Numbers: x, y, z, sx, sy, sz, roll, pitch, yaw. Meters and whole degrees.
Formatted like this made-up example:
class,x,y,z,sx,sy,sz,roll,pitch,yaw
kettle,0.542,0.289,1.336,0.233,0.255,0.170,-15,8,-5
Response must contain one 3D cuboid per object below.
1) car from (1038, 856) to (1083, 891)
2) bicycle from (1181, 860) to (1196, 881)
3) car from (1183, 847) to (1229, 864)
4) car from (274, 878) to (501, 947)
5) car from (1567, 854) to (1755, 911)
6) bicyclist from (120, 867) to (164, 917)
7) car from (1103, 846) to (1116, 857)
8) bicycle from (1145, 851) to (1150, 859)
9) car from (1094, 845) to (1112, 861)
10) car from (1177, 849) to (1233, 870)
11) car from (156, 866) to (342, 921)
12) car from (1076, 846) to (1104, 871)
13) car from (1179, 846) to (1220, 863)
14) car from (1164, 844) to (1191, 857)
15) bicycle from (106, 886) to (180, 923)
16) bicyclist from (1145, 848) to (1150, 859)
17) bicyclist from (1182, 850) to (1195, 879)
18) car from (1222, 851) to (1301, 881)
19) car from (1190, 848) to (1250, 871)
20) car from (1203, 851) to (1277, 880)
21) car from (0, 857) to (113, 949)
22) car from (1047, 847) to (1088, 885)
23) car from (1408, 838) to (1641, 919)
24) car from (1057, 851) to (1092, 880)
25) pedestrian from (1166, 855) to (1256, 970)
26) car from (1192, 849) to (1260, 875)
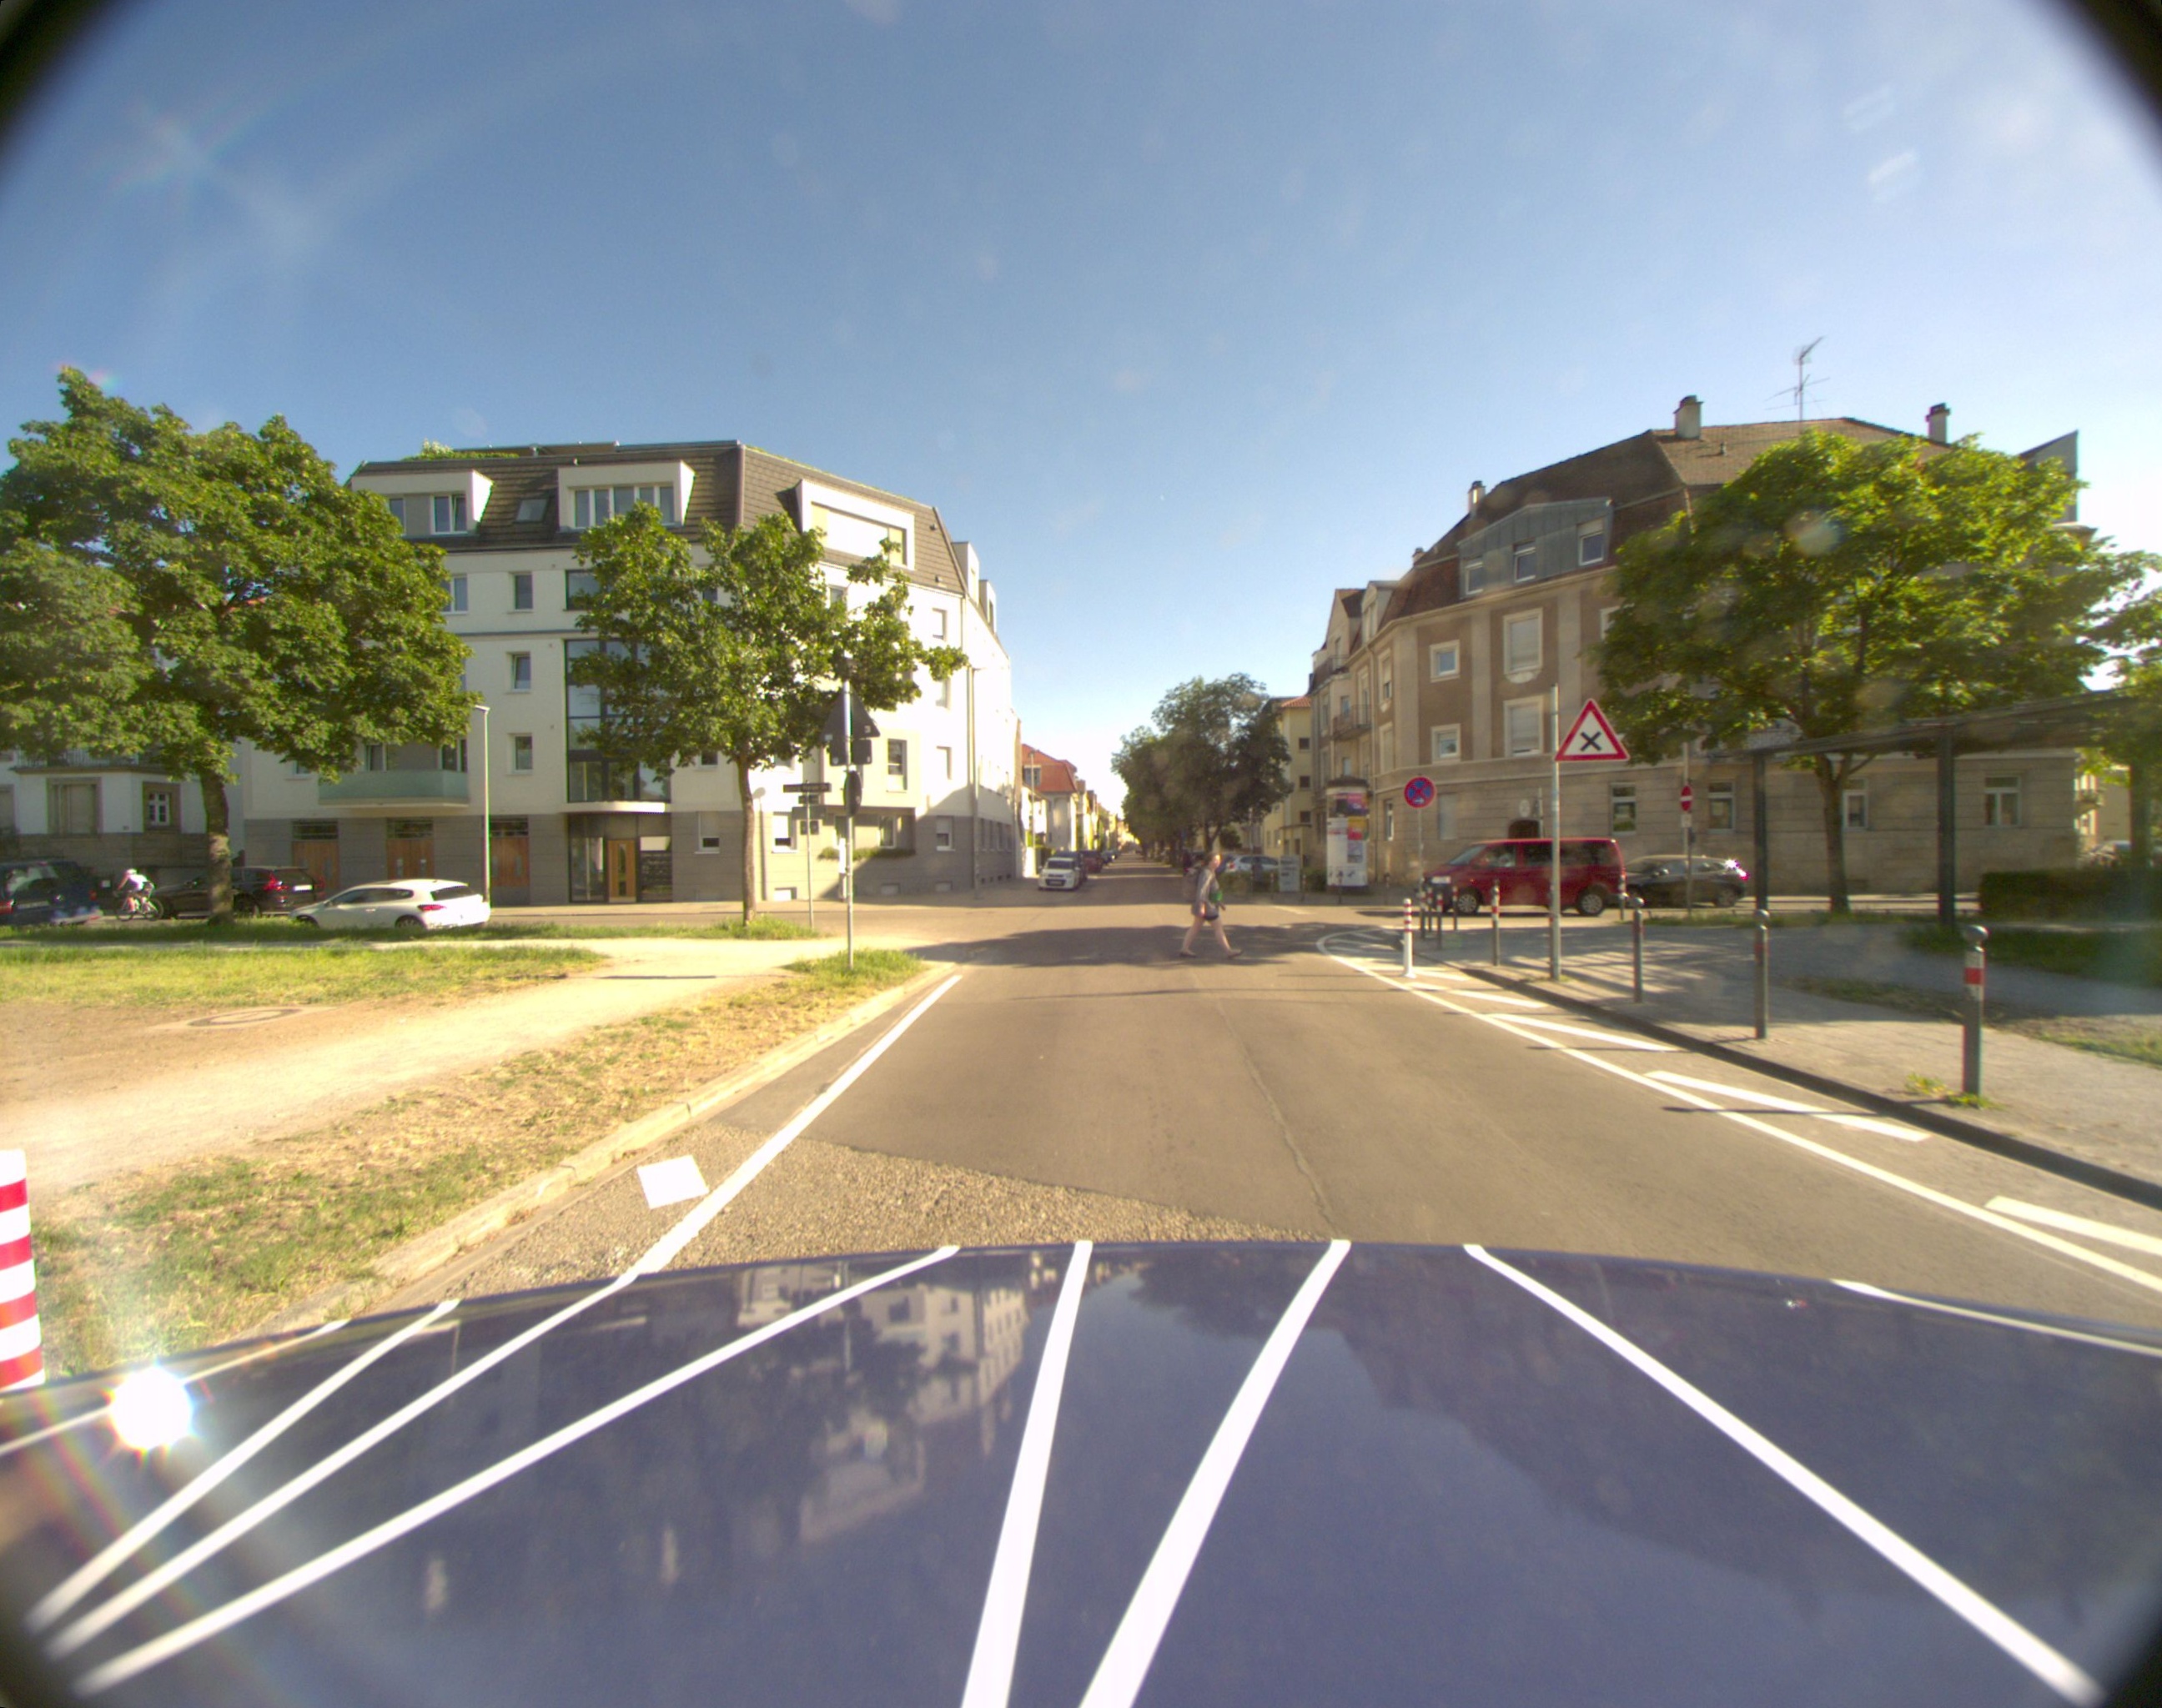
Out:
class,x,y,z,sx,sy,sz,roll,pitch,yaw
car,-0.887,0.863,35.095,1.664,1.440,3.689,2,1,4
bicycle,5.845,0.899,41.382,0.644,1.102,2.066,-1,1,5
car,11.261,0.129,68.597,3.789,1.486,1.692,-2,1,-1
car,-16.909,1.408,18.653,3.990,1.426,1.739,-1,5,4
car,16.870,0.806,22.264,4.011,1.476,1.867,-1,4,1
bicyclist,-28.001,1.116,22.663,0.687,1.456,0.498,-1,1,5
car,4.419,-0.394,117.166,1.883,1.734,4.403,-1,0,4
bicycle,9.367,0.186,107.369,0.644,1.102,2.066,-1,1,5
car,2.644,-0.075,90.812,1.883,1.860,4.403,-1,0,4
car,9.262,0.411,57.045,3.791,1.486,1.691,-2,1,-9
car,-27.541,1.283,25.243,4.284,1.673,1.896,-1,2,5
car,0.779,0.313,61.302,1.883,1.860,4.402,2,1,4
car,11.359,0.040,72.972,3.528,1.486,1.692,-2,1,-1
car,13.327,-0.459,105.295,3.527,1.693,1.692,-2,1,2
bicycle,-27.961,1.497,22.666,1.707,1.083,0.507,0,1,5
bicyclist,9.362,-0.083,107.304,0.644,1.557,1.043,-1,1,5
bicyclist,5.839,0.566,41.350,0.644,1.610,0.637,-1,1,5
car,9.560,0.637,40.468,3.788,1.436,1.692,-2,1,1
car,9.857,0.383,53.956,3.791,1.486,1.691,-2,1,-9
car,8.895,0.627,42.698,3.788,1.486,1.692,-2,1,1
car,-27.544,1.192,19.173,3.989,2.073,1.783,-1,5,5
car,-0.660,0.587,39.552,1.664,1.825,4.257,2,1,4
car,11.367,0.604,19.794,4.881,1.950,1.897,0,2,4
car,-0.362,0.644,44.950,1.664,1.533,4.067,2,1,4
pedestrian,1.975,0.852,11.634,1.091,1.664,0.912,0,1,-13
car,9.097,0.509,47.792,3.791,1.486,1.691,-2,1,-9
